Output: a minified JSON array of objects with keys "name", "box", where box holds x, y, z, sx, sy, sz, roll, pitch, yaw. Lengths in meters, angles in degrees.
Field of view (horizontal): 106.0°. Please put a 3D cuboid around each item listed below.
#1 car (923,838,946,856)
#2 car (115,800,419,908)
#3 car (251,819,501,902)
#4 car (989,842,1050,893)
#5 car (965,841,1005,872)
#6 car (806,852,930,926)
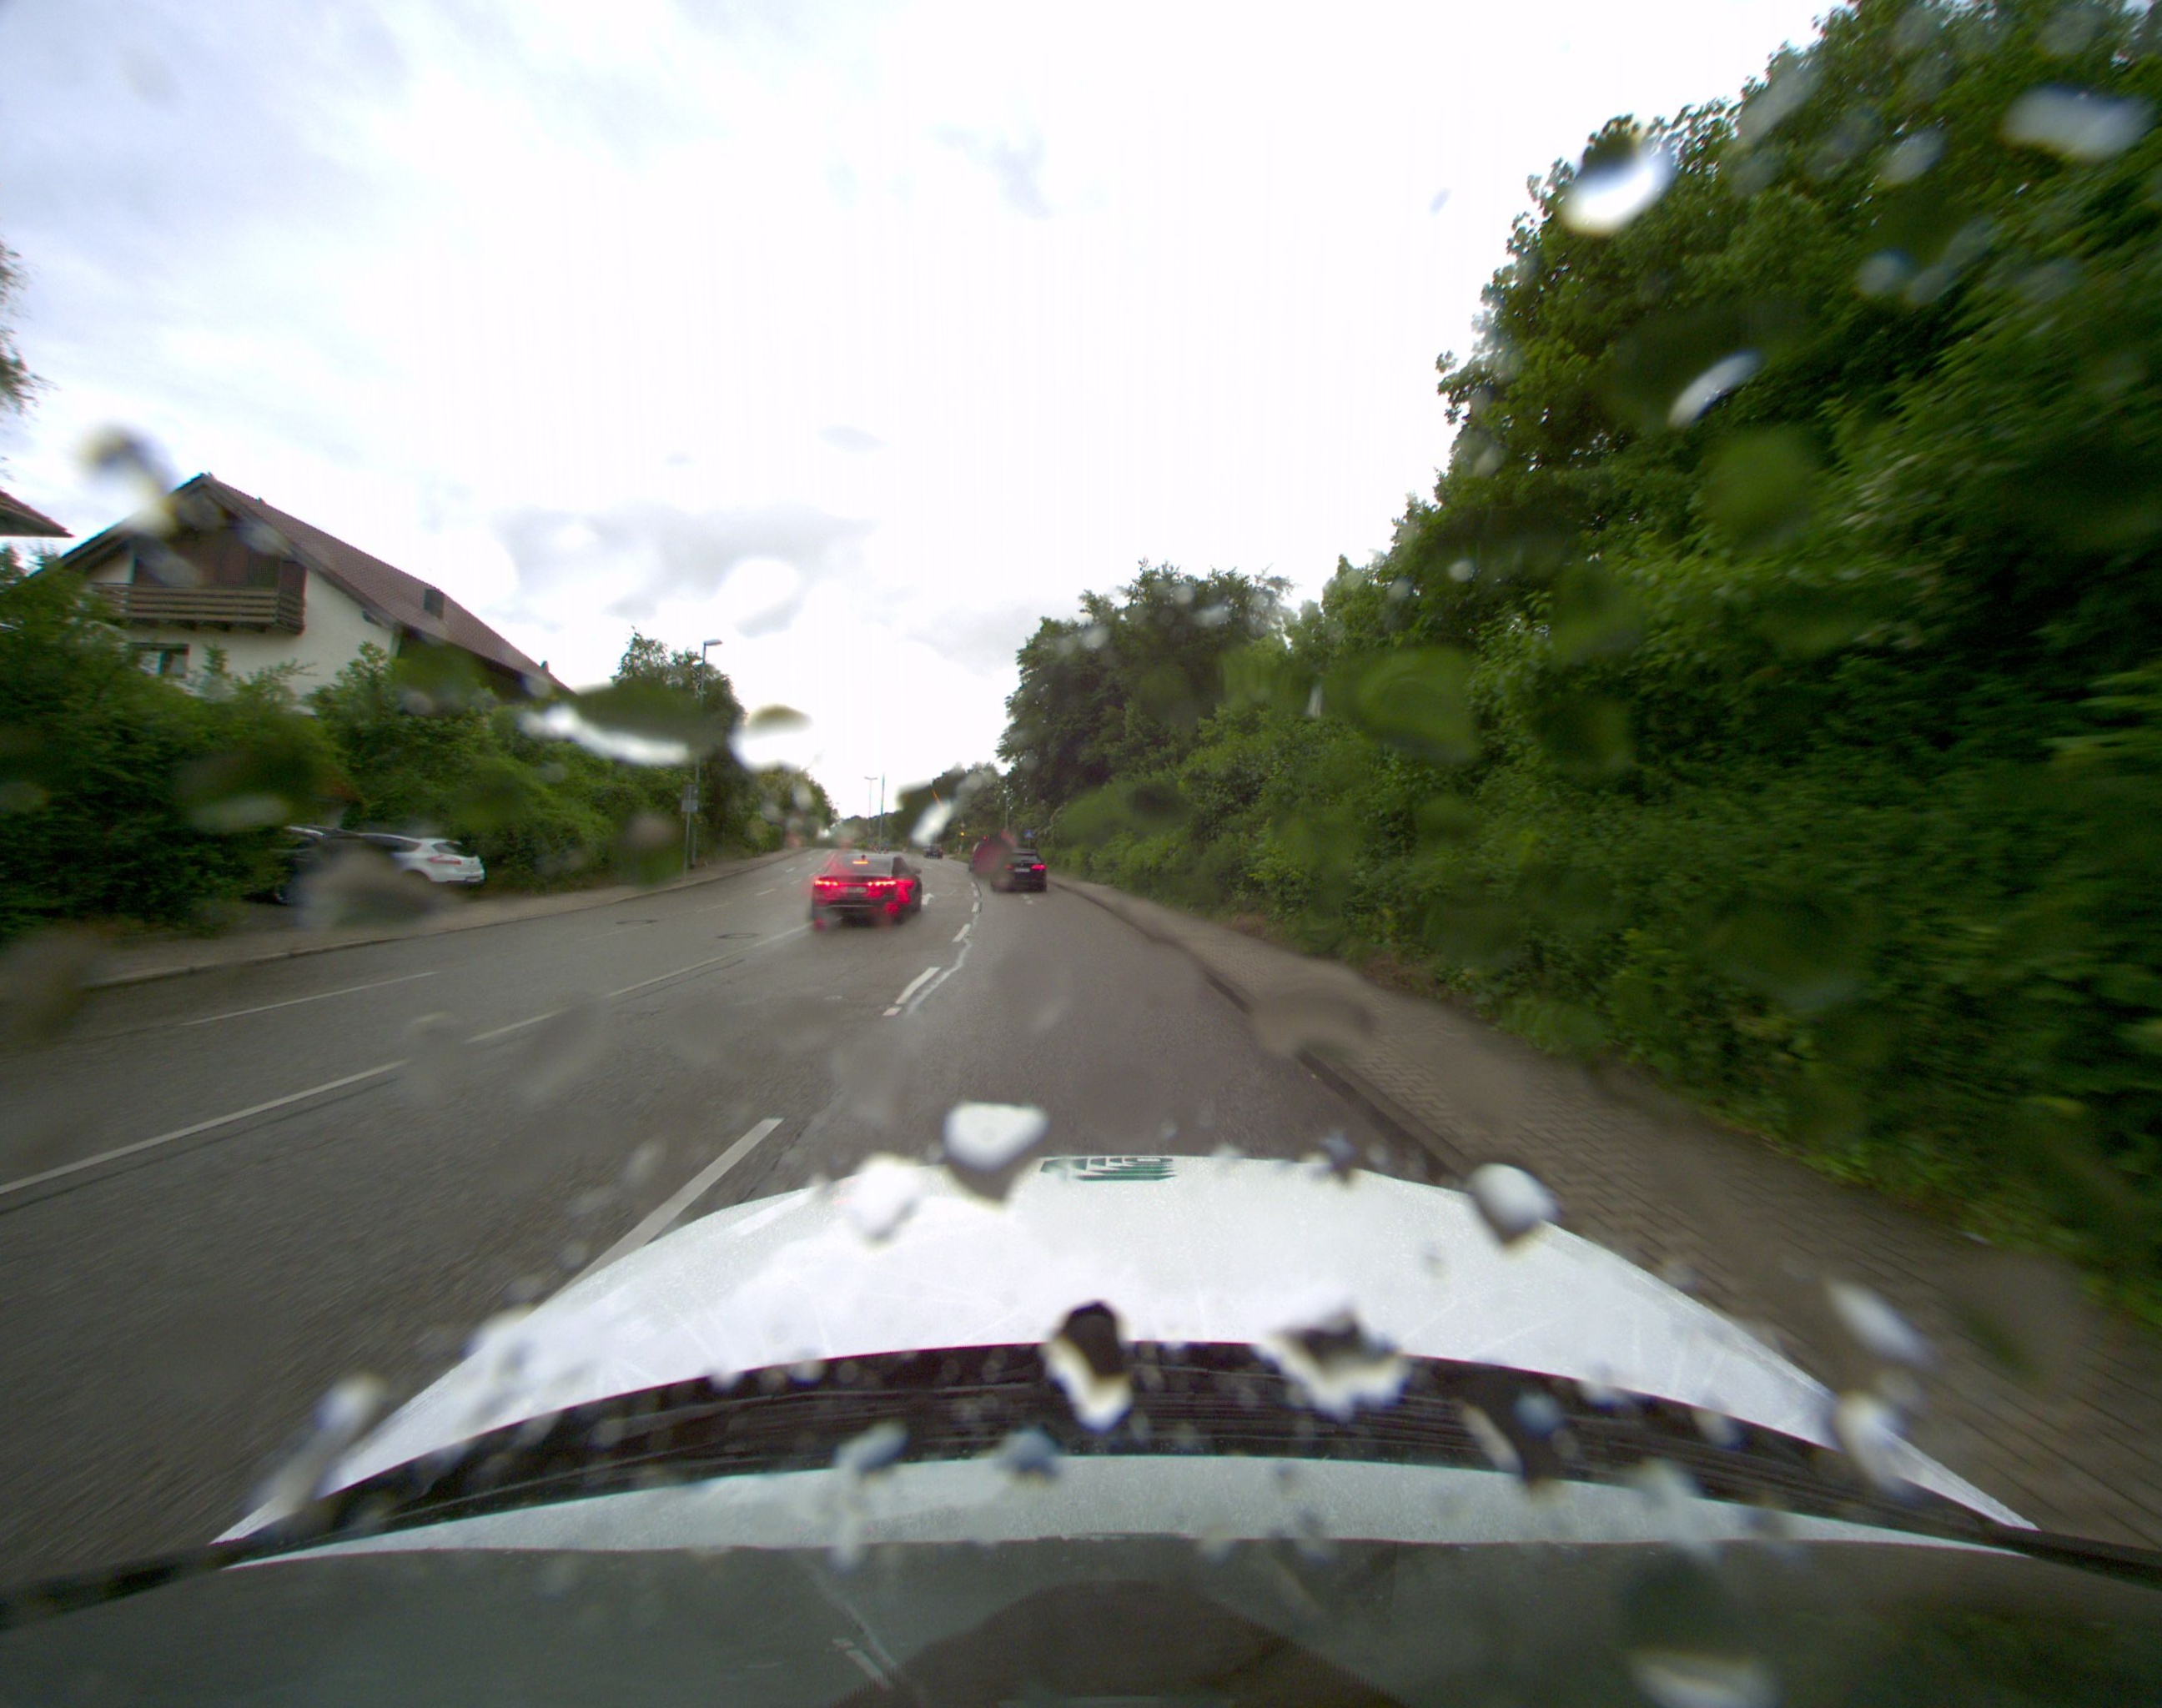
[{"name":"car","box":[-15.313,-0.718,84.998,1.856,1.662,3.974,2,-3,-18]},{"name":"car","box":[-16.669,0.017,16.909,3.984,1.679,1.851,7,-1,-8]},{"name":"car","box":[-16.702,0.164,19.535,3.989,1.447,1.848,7,-1,-12]},{"name":"car","box":[-2.334,0.422,29.855,1.992,1.586,4.653,1,2,-7]},{"name":"car","box":[-5.820,0.135,49.062,1.995,1.748,3.983,0,0,-13]},{"name":"car","box":[-4.578,0.682,18.225,1.903,1.398,4.847,-1,0,-6]}]
